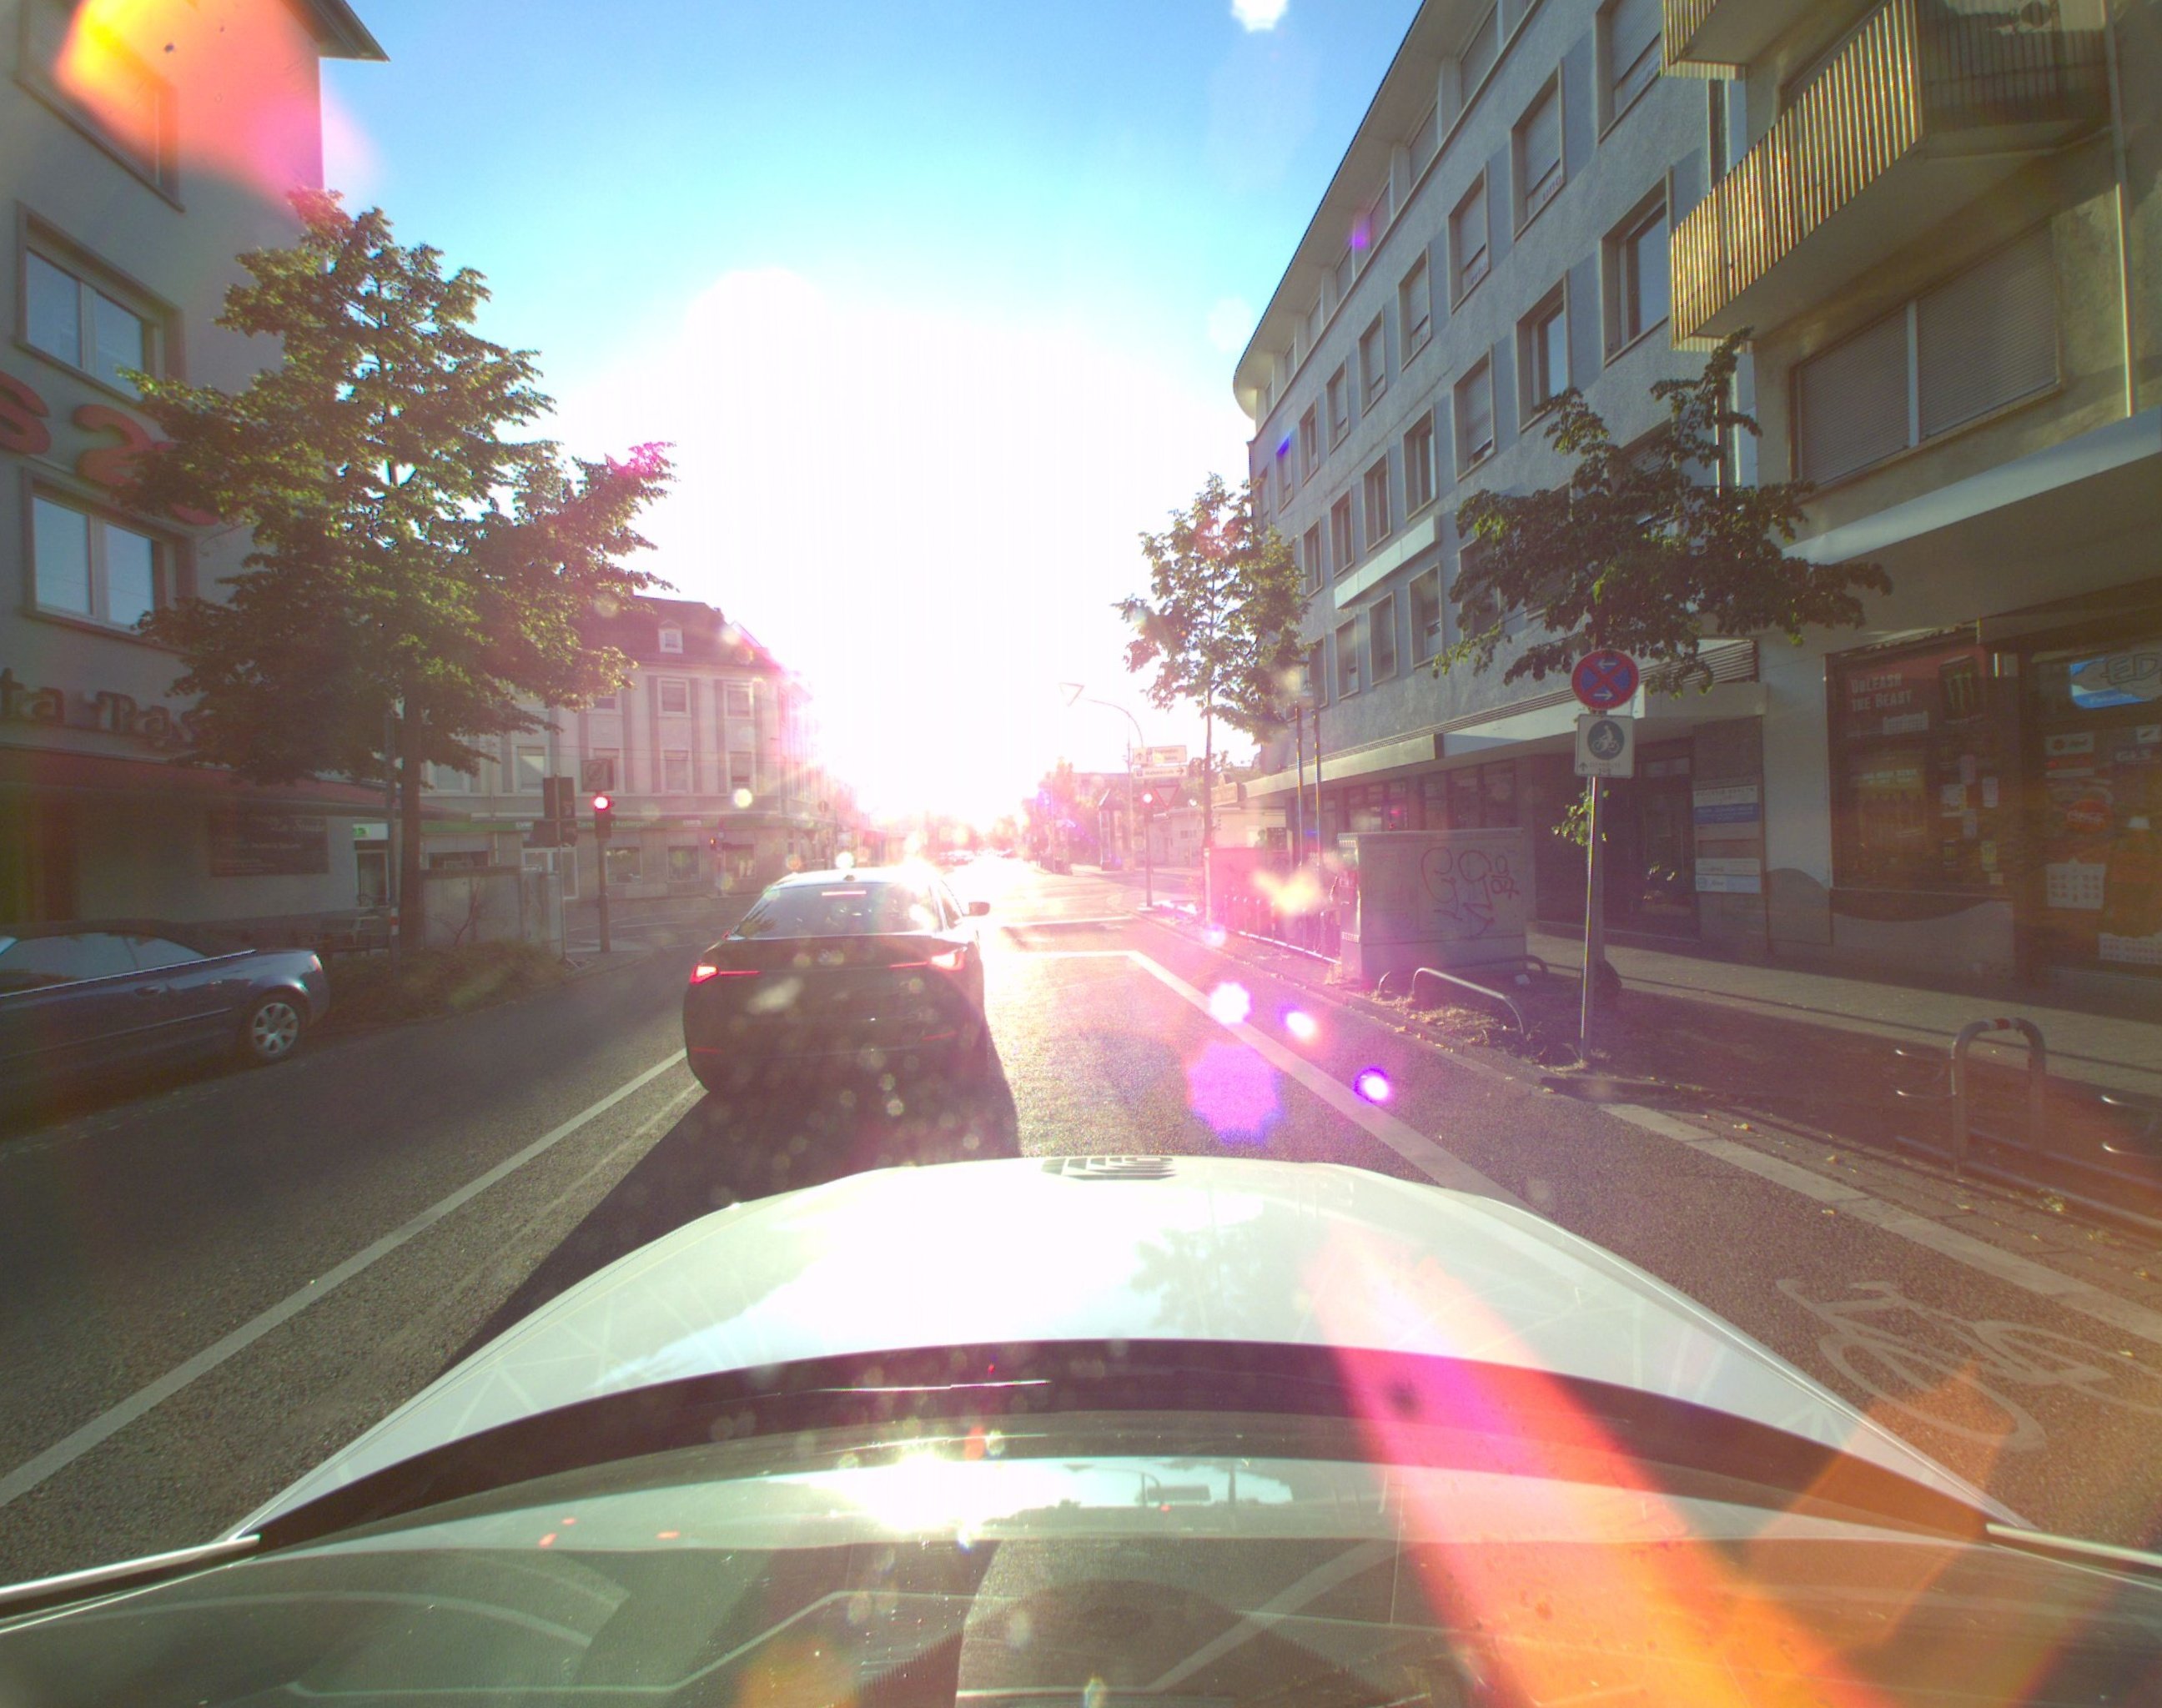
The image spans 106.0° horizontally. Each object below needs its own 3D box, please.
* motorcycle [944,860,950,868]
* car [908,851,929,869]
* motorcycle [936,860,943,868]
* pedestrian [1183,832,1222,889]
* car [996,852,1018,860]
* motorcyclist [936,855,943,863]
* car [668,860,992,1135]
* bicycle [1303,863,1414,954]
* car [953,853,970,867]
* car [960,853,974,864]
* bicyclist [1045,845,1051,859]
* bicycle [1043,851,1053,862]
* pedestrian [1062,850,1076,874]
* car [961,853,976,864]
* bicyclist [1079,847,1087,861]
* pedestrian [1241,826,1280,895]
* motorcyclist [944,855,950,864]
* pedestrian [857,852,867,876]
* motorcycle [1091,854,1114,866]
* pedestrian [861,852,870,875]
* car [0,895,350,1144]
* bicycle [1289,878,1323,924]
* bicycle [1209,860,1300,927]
[{"bbox_3d":[-15.532,1.130,94.333,0.574,0.915,2.196,0,0,-6],"label":"motorcycle"},{"bbox_3d":[-17.488,0.661,87.721,1.816,1.788,3.992,-2,0,-6],"label":"car"},{"bbox_3d":[-16.457,1.137,94.730,0.574,0.915,2.196,0,0,-6],"label":"motorcycle"},{"bbox_3d":[4.166,0.210,27.857,1.007,1.860,0.634,-6,2,-27],"label":"pedestrian"},{"bbox_3d":[-14.647,0.375,162.101,4.019,1.519,1.803,-3,0,-37],"label":"car"},{"bbox_3d":[-16.456,0.605,94.733,0.574,0.915,2.196,0,0,-6],"label":"motorcyclist"},{"bbox_3d":[-1.643,0.798,6.655,1.735,1.428,4.213,-1,0,-7],"label":"car"},{"bbox_3d":[3.874,0.748,11.407,1.438,1.220,0.383,0,0,-5],"label":"bicycle"},{"bbox_3d":[-13.953,0.639,95.180,1.816,1.519,3.992,-2,0,-6],"label":"car"},{"bbox_3d":[-17.306,0.632,123.835,1.816,1.519,3.992,-2,0,-6],"label":"car"},{"bbox_3d":[-3.515,-0.212,86.523,0.551,1.481,0.719,-1,-1,-15],"label":"bicyclist"},{"bbox_3d":[-3.526,0.262,86.594,0.551,1.159,2.133,-1,-1,-14],"label":"bicycle"},{"bbox_3d":[-0.724,0.500,50.715,0.737,1.529,0.468,0,0,-27],"label":"pedestrian"},{"bbox_3d":[-15.717,0.634,113.609,1.816,1.519,3.992,-2,0,-6],"label":"car"},{"bbox_3d":[0.206,-0.036,88.691,0.879,1.505,0.613,0,0,5],"label":"bicyclist"},{"bbox_3d":[4.928,0.177,22.390,0.834,1.841,0.677,-2,0,-6],"label":"pedestrian"},{"bbox_3d":[-15.525,0.598,94.236,0.574,0.995,0.701,0,0,-6],"label":"motorcyclist"},{"bbox_3d":[-17.318,0.764,64.510,0.642,1.876,0.630,0,0,-7],"label":"pedestrian"},{"bbox_3d":[1.800,0.468,68.016,1.673,0.939,0.851,-2,0,-18],"label":"motorcycle"},{"bbox_3d":[-17.297,0.764,65.362,0.618,1.876,0.674,0,0,-20],"label":"pedestrian"},{"bbox_3d":[-7.637,1.151,5.543,1.721,1.415,4.270,-4,0,-7],"label":"car"},{"bbox_3d":[4.202,0.870,15.256,0.249,0.796,1.114,0,0,-4],"label":"bicycle"},{"bbox_3d":[3.238,0.722,15.204,1.610,1.171,0.318,-2,0,-5],"label":"bicycle"}]
